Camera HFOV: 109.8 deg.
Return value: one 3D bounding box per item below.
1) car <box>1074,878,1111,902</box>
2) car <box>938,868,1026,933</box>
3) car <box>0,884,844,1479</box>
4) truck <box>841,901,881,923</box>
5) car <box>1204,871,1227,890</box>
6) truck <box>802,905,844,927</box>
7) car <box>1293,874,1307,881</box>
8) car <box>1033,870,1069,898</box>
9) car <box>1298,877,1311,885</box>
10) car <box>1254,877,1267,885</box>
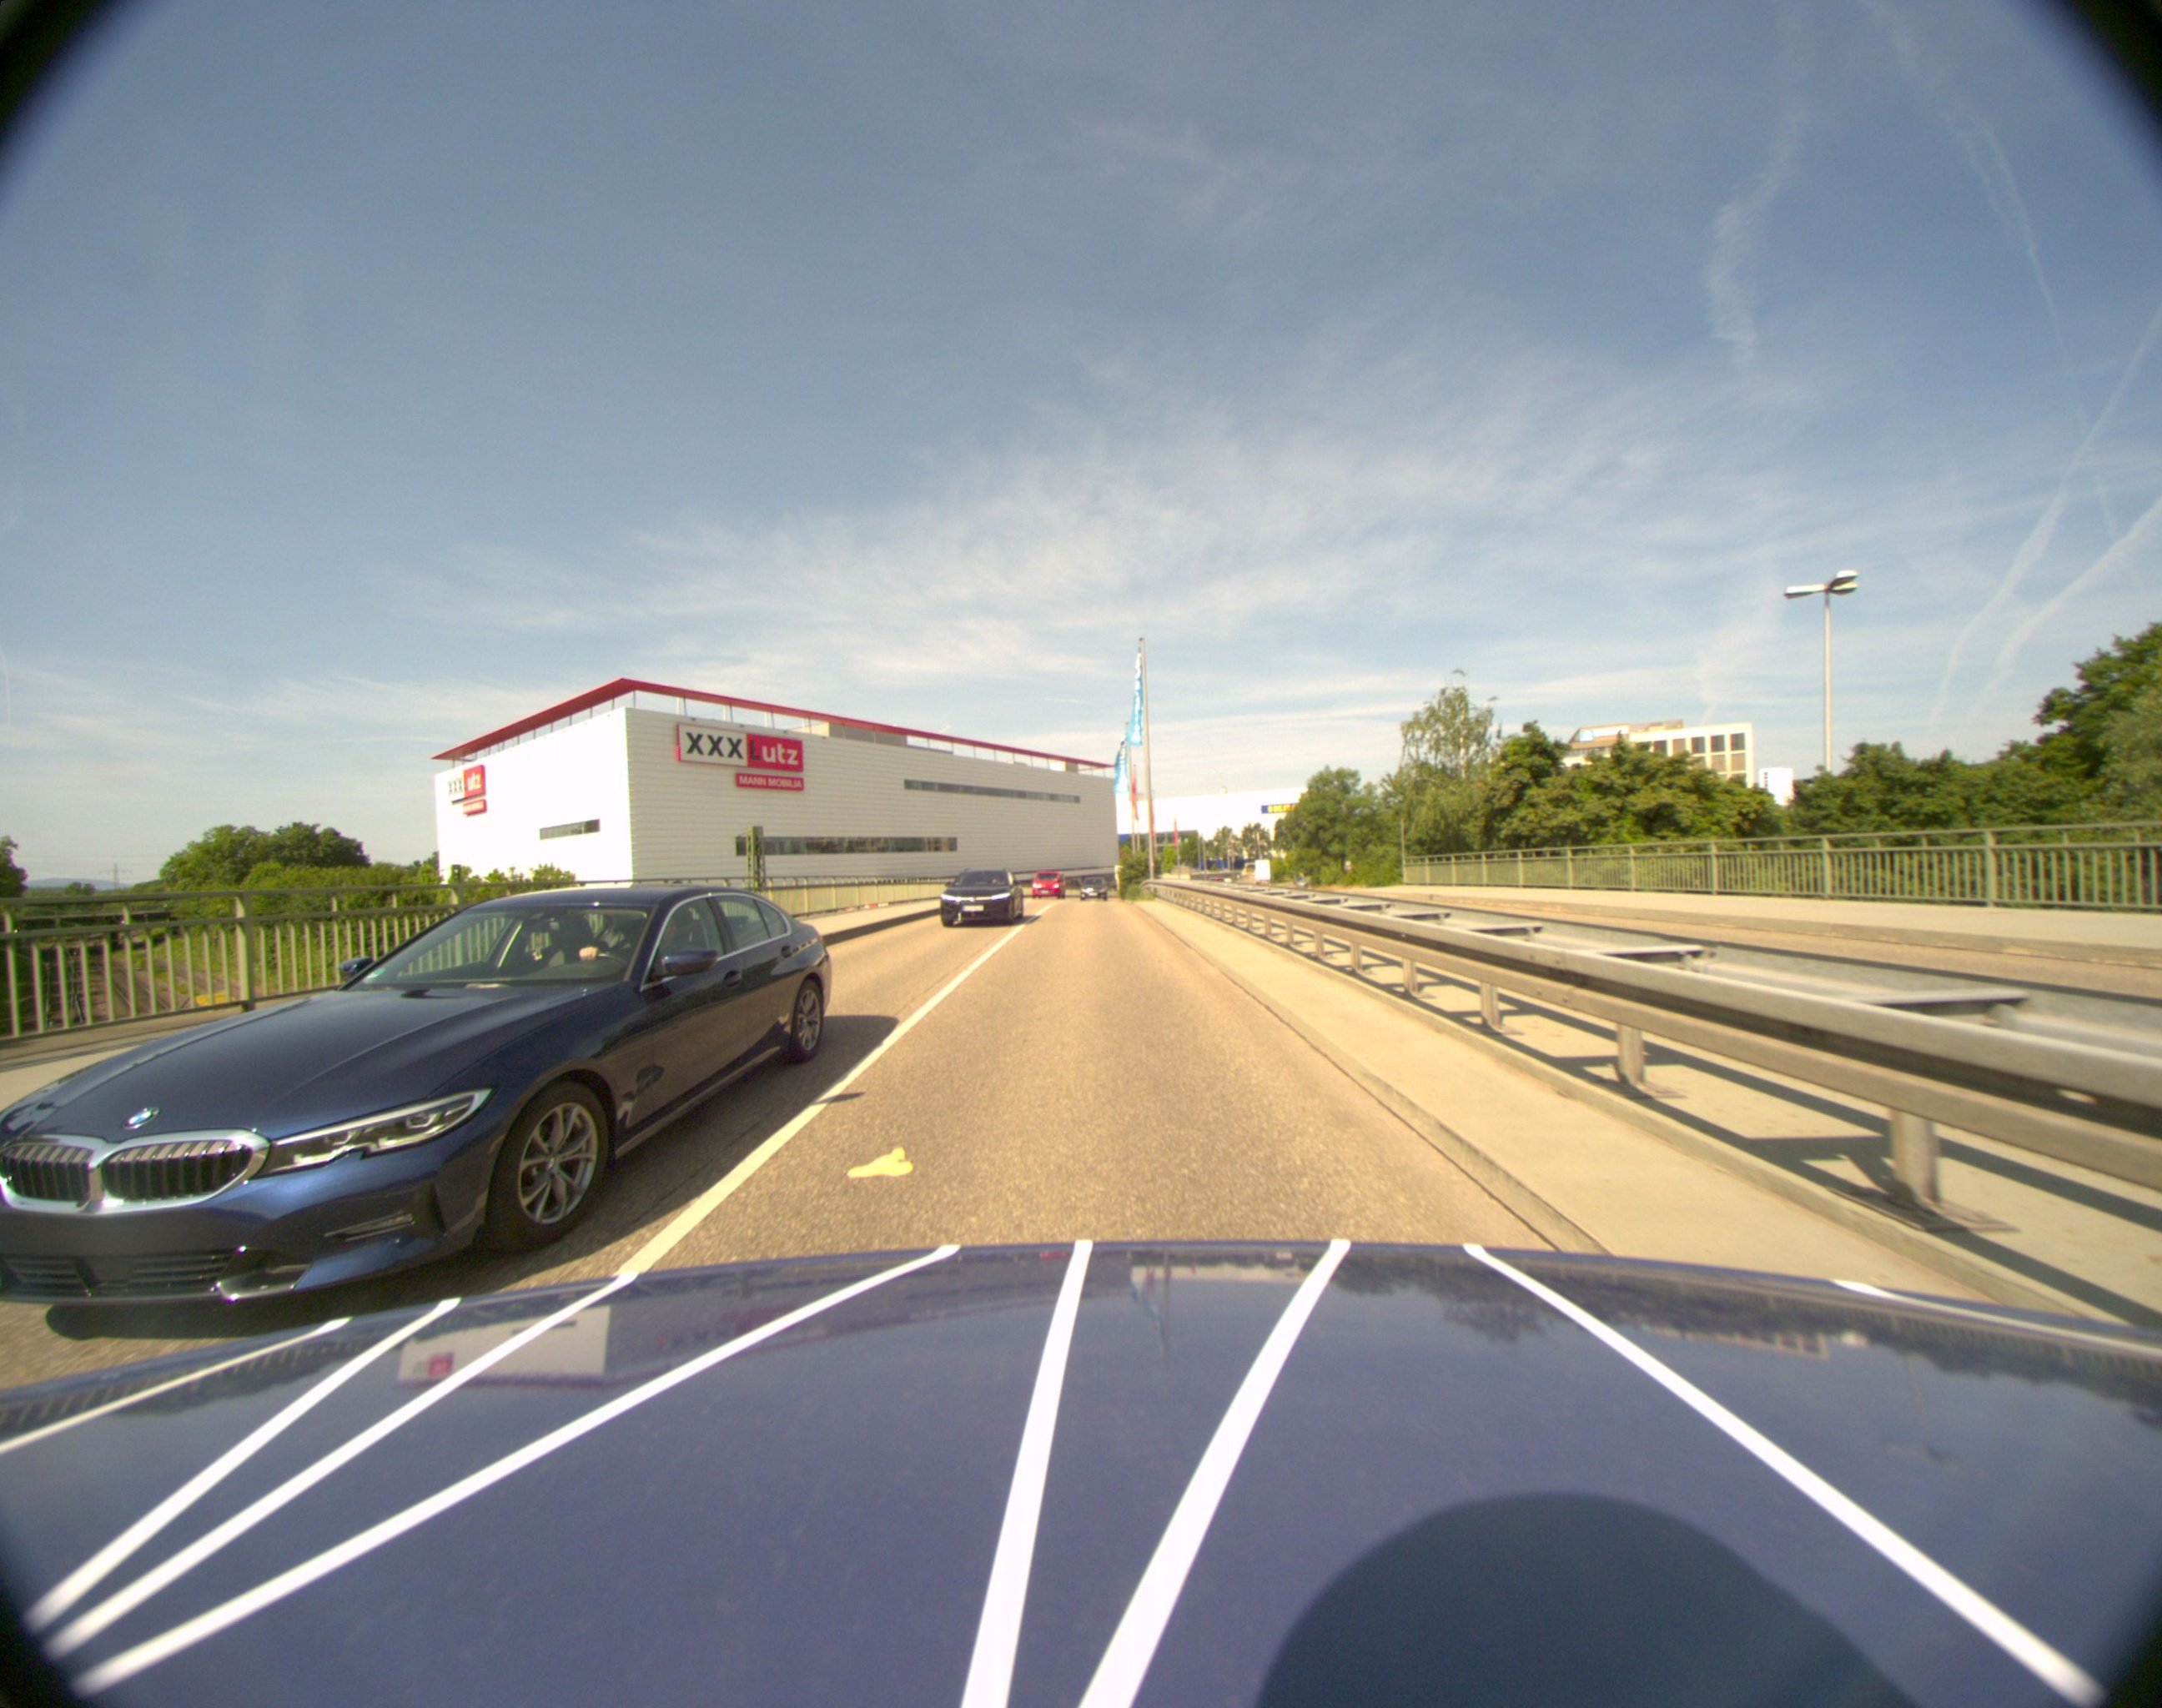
[{"bbox_3d":[0.757,2.176,46.753,1.848,1.409,4.003,0,-2,6],"label":"car"},{"bbox_3d":[-2.618,1.188,21.011,1.861,1.520,4.144,-3,-1,-1],"label":"car"},{"bbox_3d":[-3.050,1.040,4.415,1.792,1.475,4.520,-2,0,1],"label":"car"},{"bbox_3d":[-32.041,8.414,110.653,5.996,2.910,2.136,-3,0,34],"label":"truck"},{"bbox_3d":[11.667,2.304,65.749,1.885,1.625,4.230,-1,-2,11],"label":"car"},{"bbox_3d":[-35.587,8.529,104.601,5.996,2.910,2.136,-3,0,34],"label":"truck"},{"bbox_3d":[51.157,5.565,177.401,1.822,1.466,4.008,-2,0,33],"label":"car"},{"bbox_3d":[-2.091,2.171,54.055,1.987,1.895,4.148,0,-3,6],"label":"car"},{"bbox_3d":[49.644,6.023,168.722,1.822,1.466,4.007,-2,0,31],"label":"car"},{"bbox_3d":[36.663,5.493,155.091,1.822,1.466,4.007,-2,0,26],"label":"car"}]
